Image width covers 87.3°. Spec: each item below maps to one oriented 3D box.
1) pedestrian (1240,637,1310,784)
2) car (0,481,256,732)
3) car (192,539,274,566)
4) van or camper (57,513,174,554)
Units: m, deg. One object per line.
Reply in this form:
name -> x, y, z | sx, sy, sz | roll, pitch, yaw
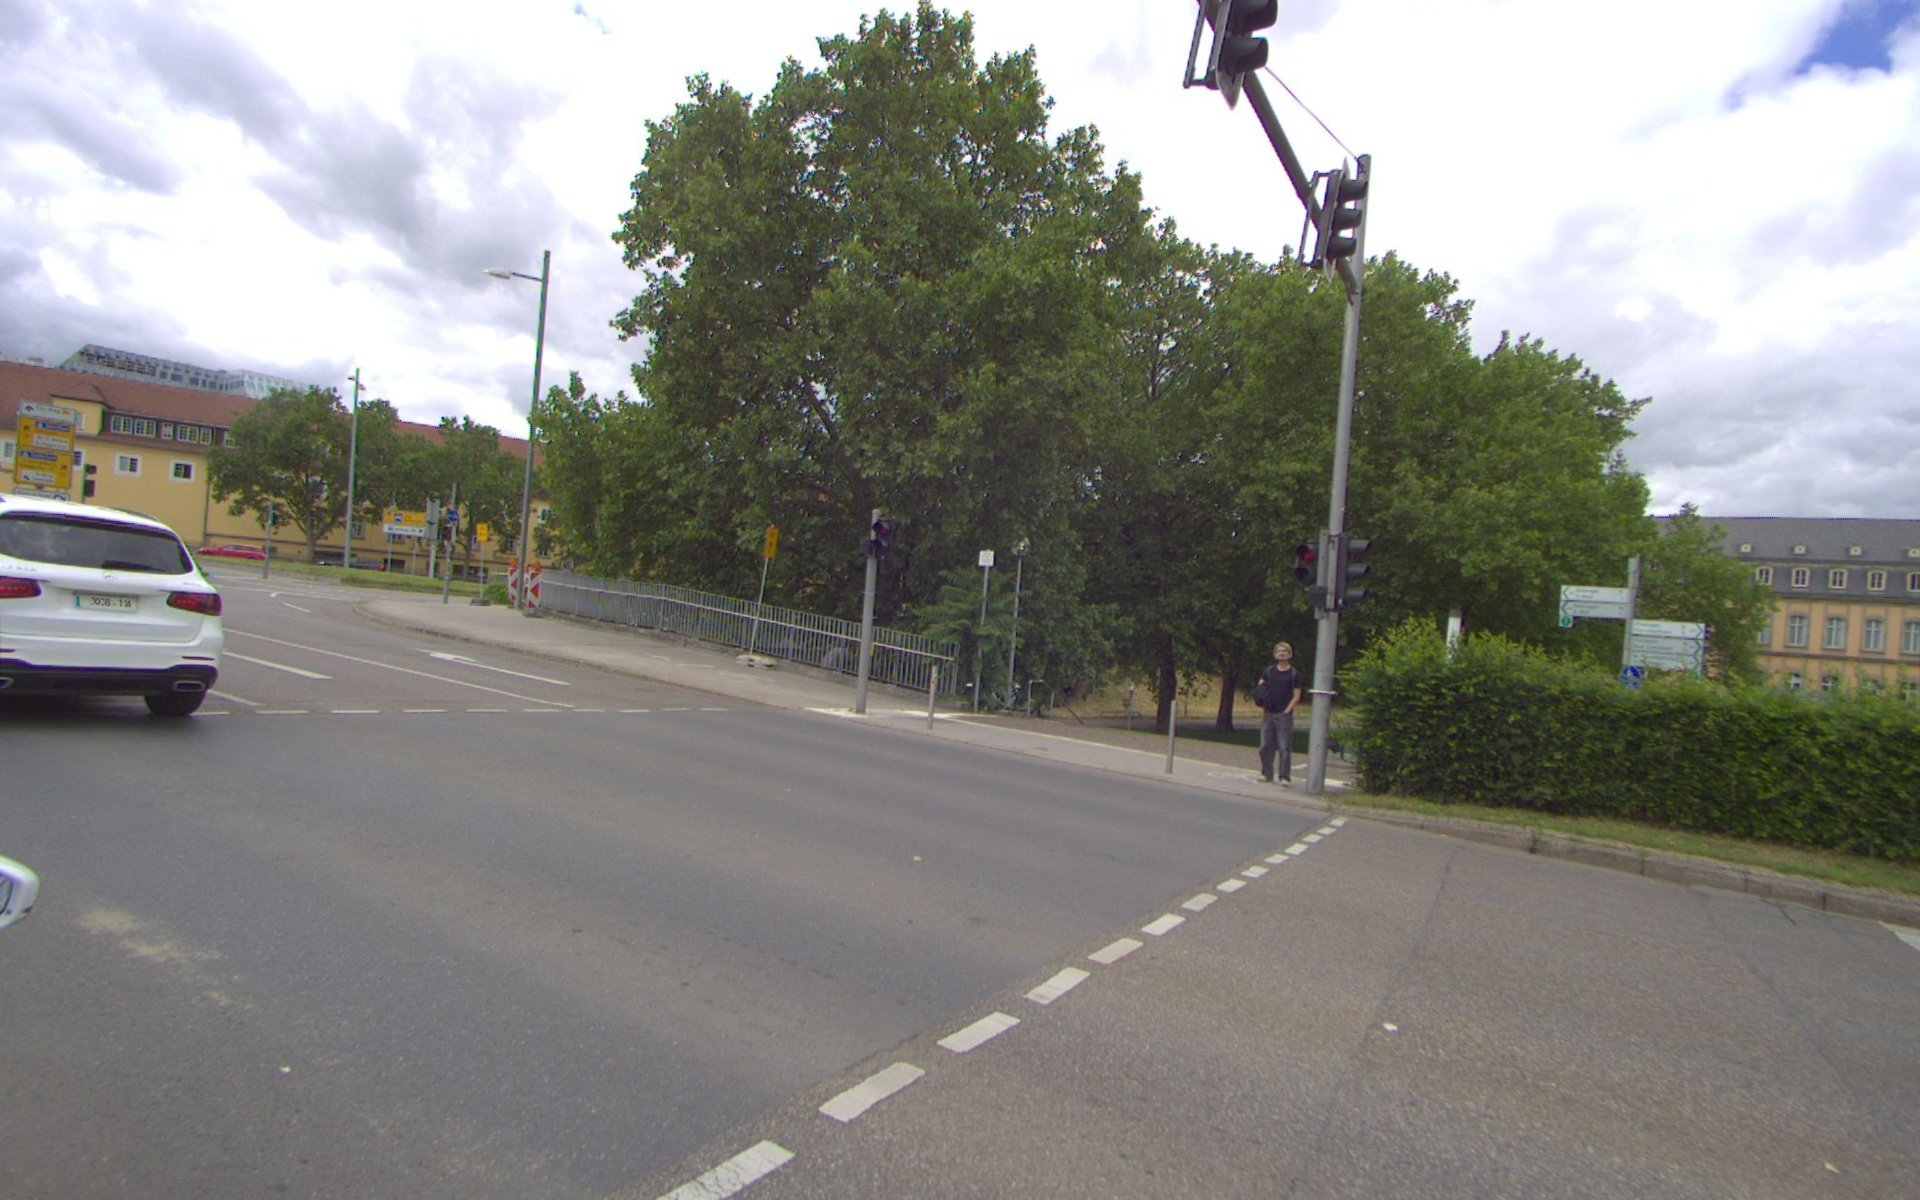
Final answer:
pedestrian -> 4.061, 1.411, 12.962 | 0.610, 1.785, 0.479 | 6, 0, 29
car -> -7.920, -0.099, 8.292 | 4.307, 1.667, 1.821 | 6, -1, 32
car -> -54.242, -3.530, 75.129 | 4.636, 1.437, 1.586 | 7, -1, -27
van or camper -> -60.509, -4.729, 72.191 | 5.945, 2.038, 2.009 | 7, -1, -23
